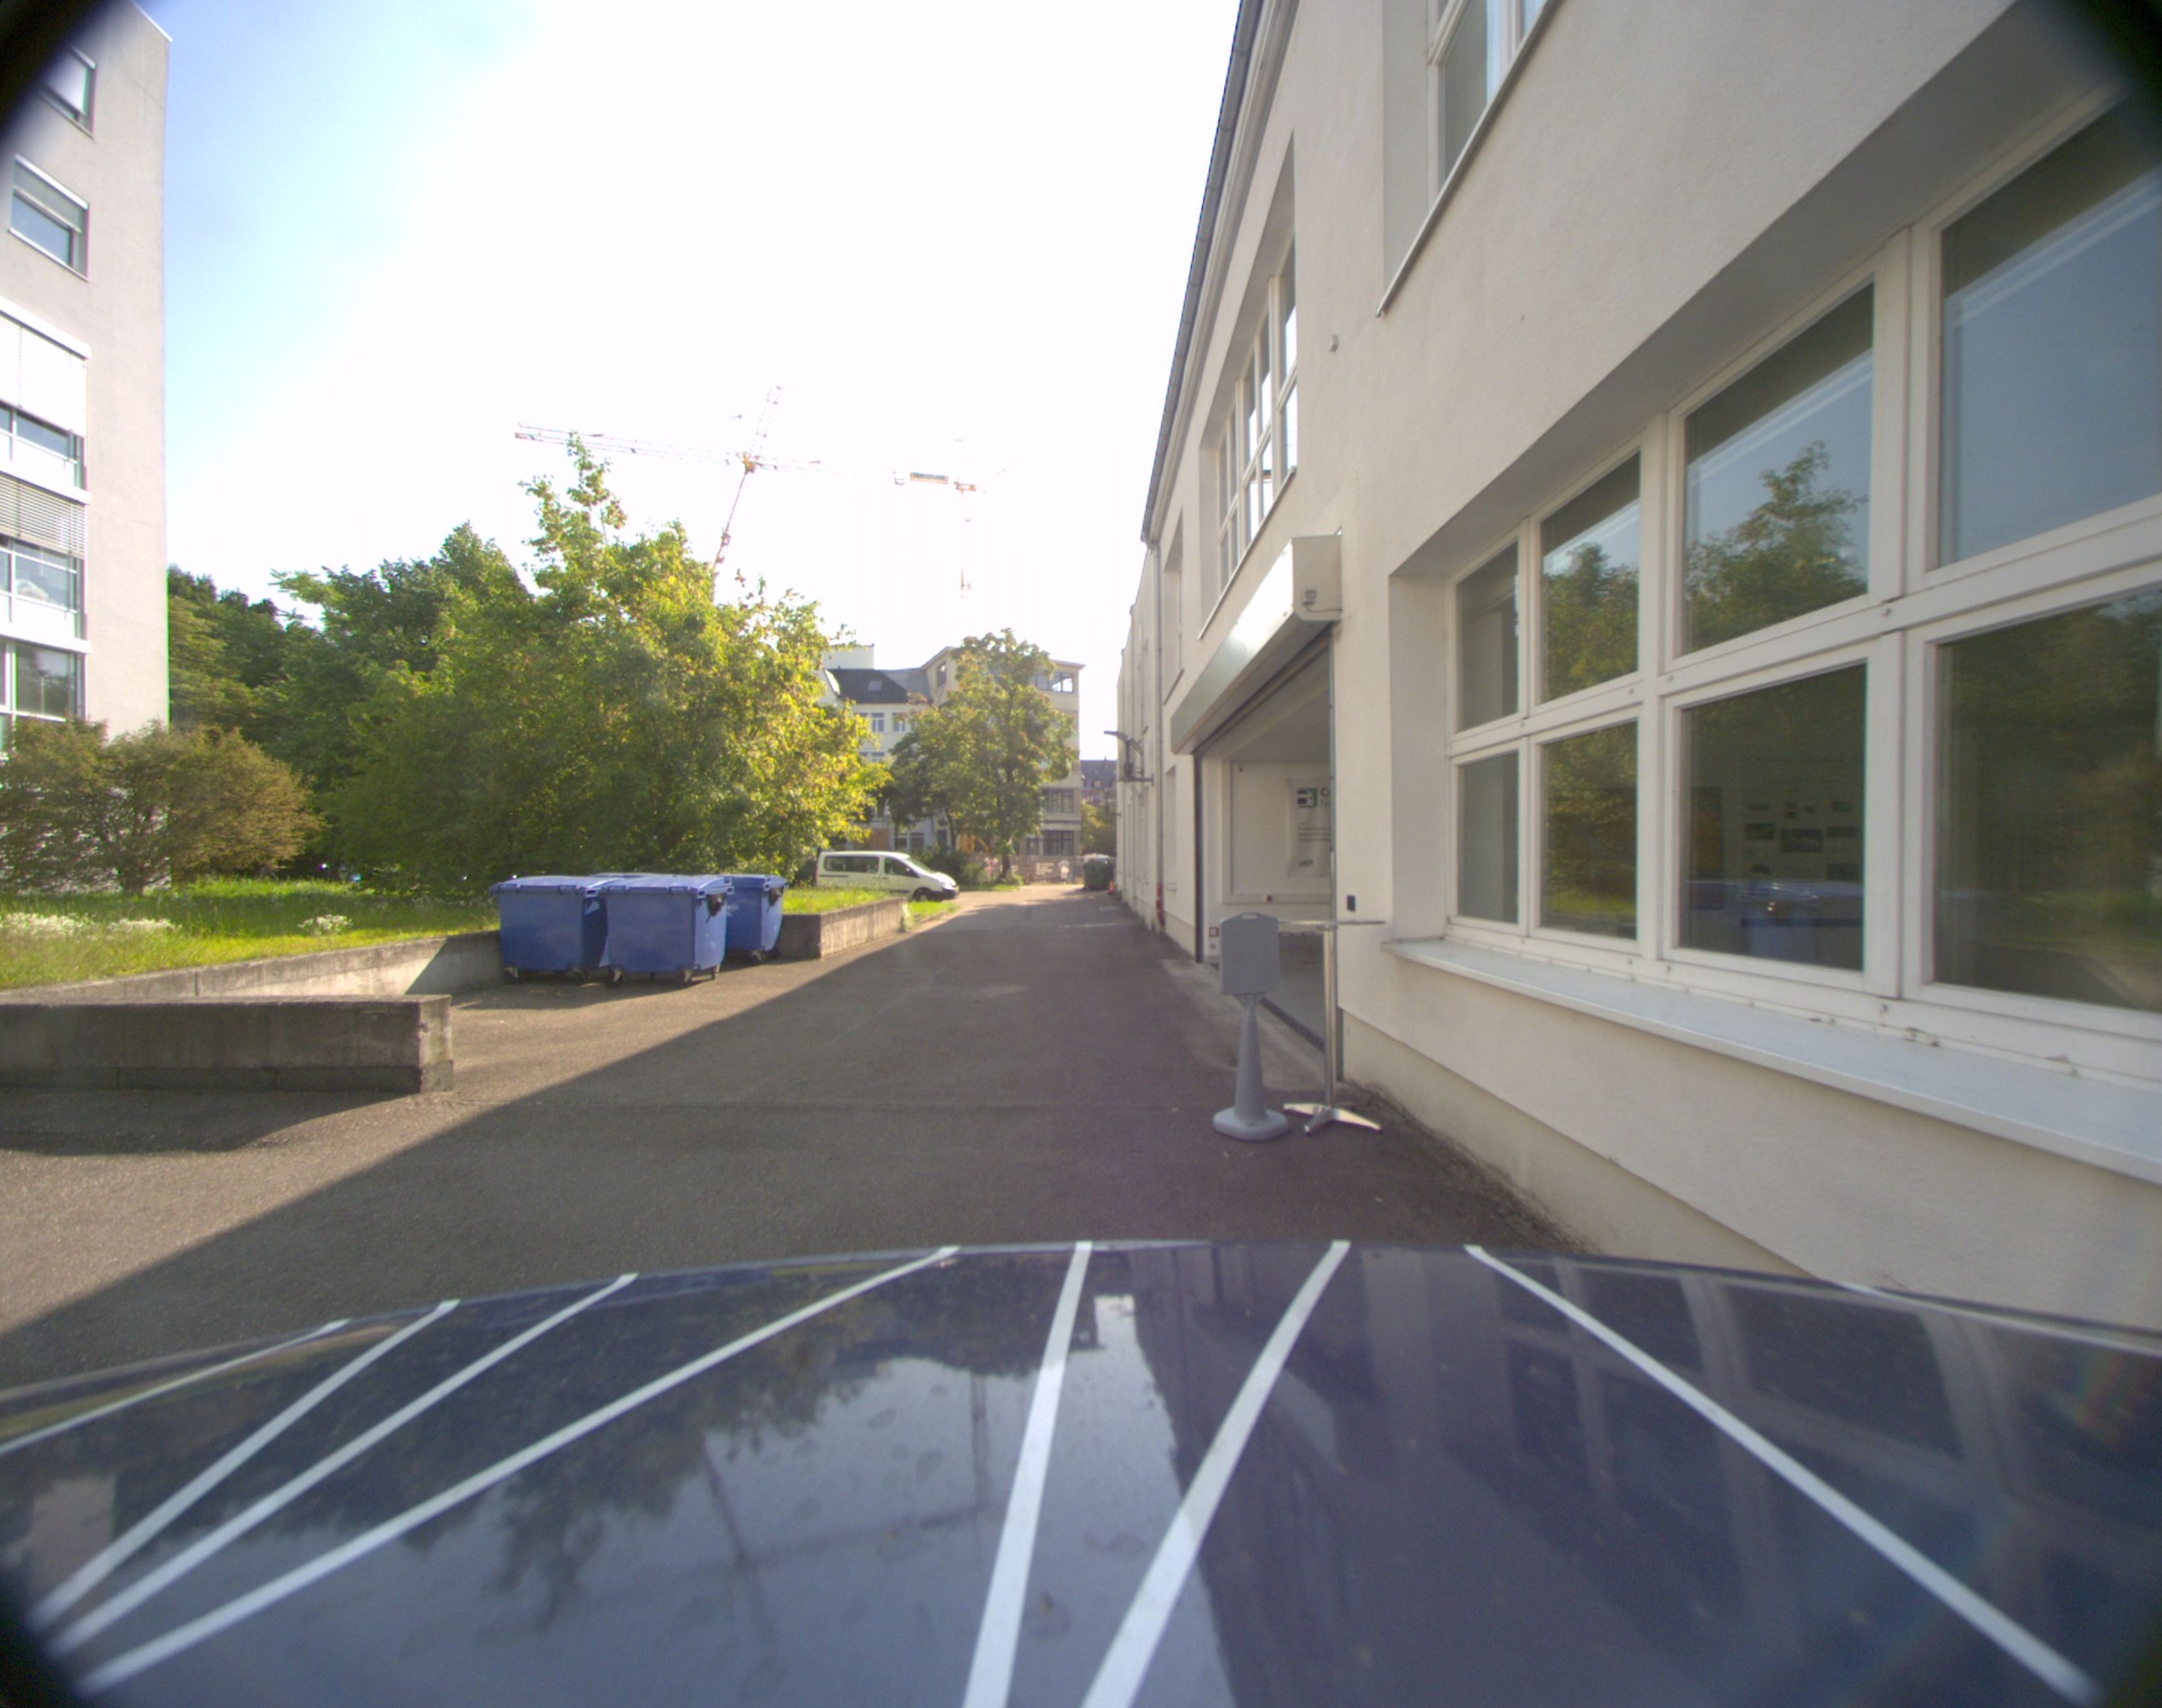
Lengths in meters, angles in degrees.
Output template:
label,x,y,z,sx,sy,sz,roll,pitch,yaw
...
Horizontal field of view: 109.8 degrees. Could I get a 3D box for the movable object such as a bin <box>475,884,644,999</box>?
label,x,y,z,sx,sy,sz,roll,pitch,yaw
movable object such as a bin,-6.601,1.068,9.717,1.257,1.320,1.275,-1,0,1

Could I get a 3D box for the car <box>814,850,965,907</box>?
label,x,y,z,sx,sy,sz,roll,pitch,yaw
car,-6.634,0.836,26.688,4.789,1.920,1.909,0,0,2

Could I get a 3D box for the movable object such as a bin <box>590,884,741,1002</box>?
label,x,y,z,sx,sy,sz,roll,pitch,yaw
movable object such as a bin,-5.235,1.089,9.687,1.214,1.343,1.275,-1,0,-1

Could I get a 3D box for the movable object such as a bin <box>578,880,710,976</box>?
label,x,y,z,sx,sy,sz,roll,pitch,yaw
movable object such as a bin,-6.491,1.068,11.376,1.199,1.320,1.275,-1,0,1

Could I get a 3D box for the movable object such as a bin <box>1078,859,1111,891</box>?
label,x,y,z,sx,sy,sz,roll,pitch,yaw
movable object such as a bin,0.655,0.986,36.032,1.524,1.457,1.275,-1,0,1

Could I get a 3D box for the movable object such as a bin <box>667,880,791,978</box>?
label,x,y,z,sx,sy,sz,roll,pitch,yaw
movable object such as a bin,-5.153,1.064,11.229,1.199,1.320,1.275,-1,0,1
